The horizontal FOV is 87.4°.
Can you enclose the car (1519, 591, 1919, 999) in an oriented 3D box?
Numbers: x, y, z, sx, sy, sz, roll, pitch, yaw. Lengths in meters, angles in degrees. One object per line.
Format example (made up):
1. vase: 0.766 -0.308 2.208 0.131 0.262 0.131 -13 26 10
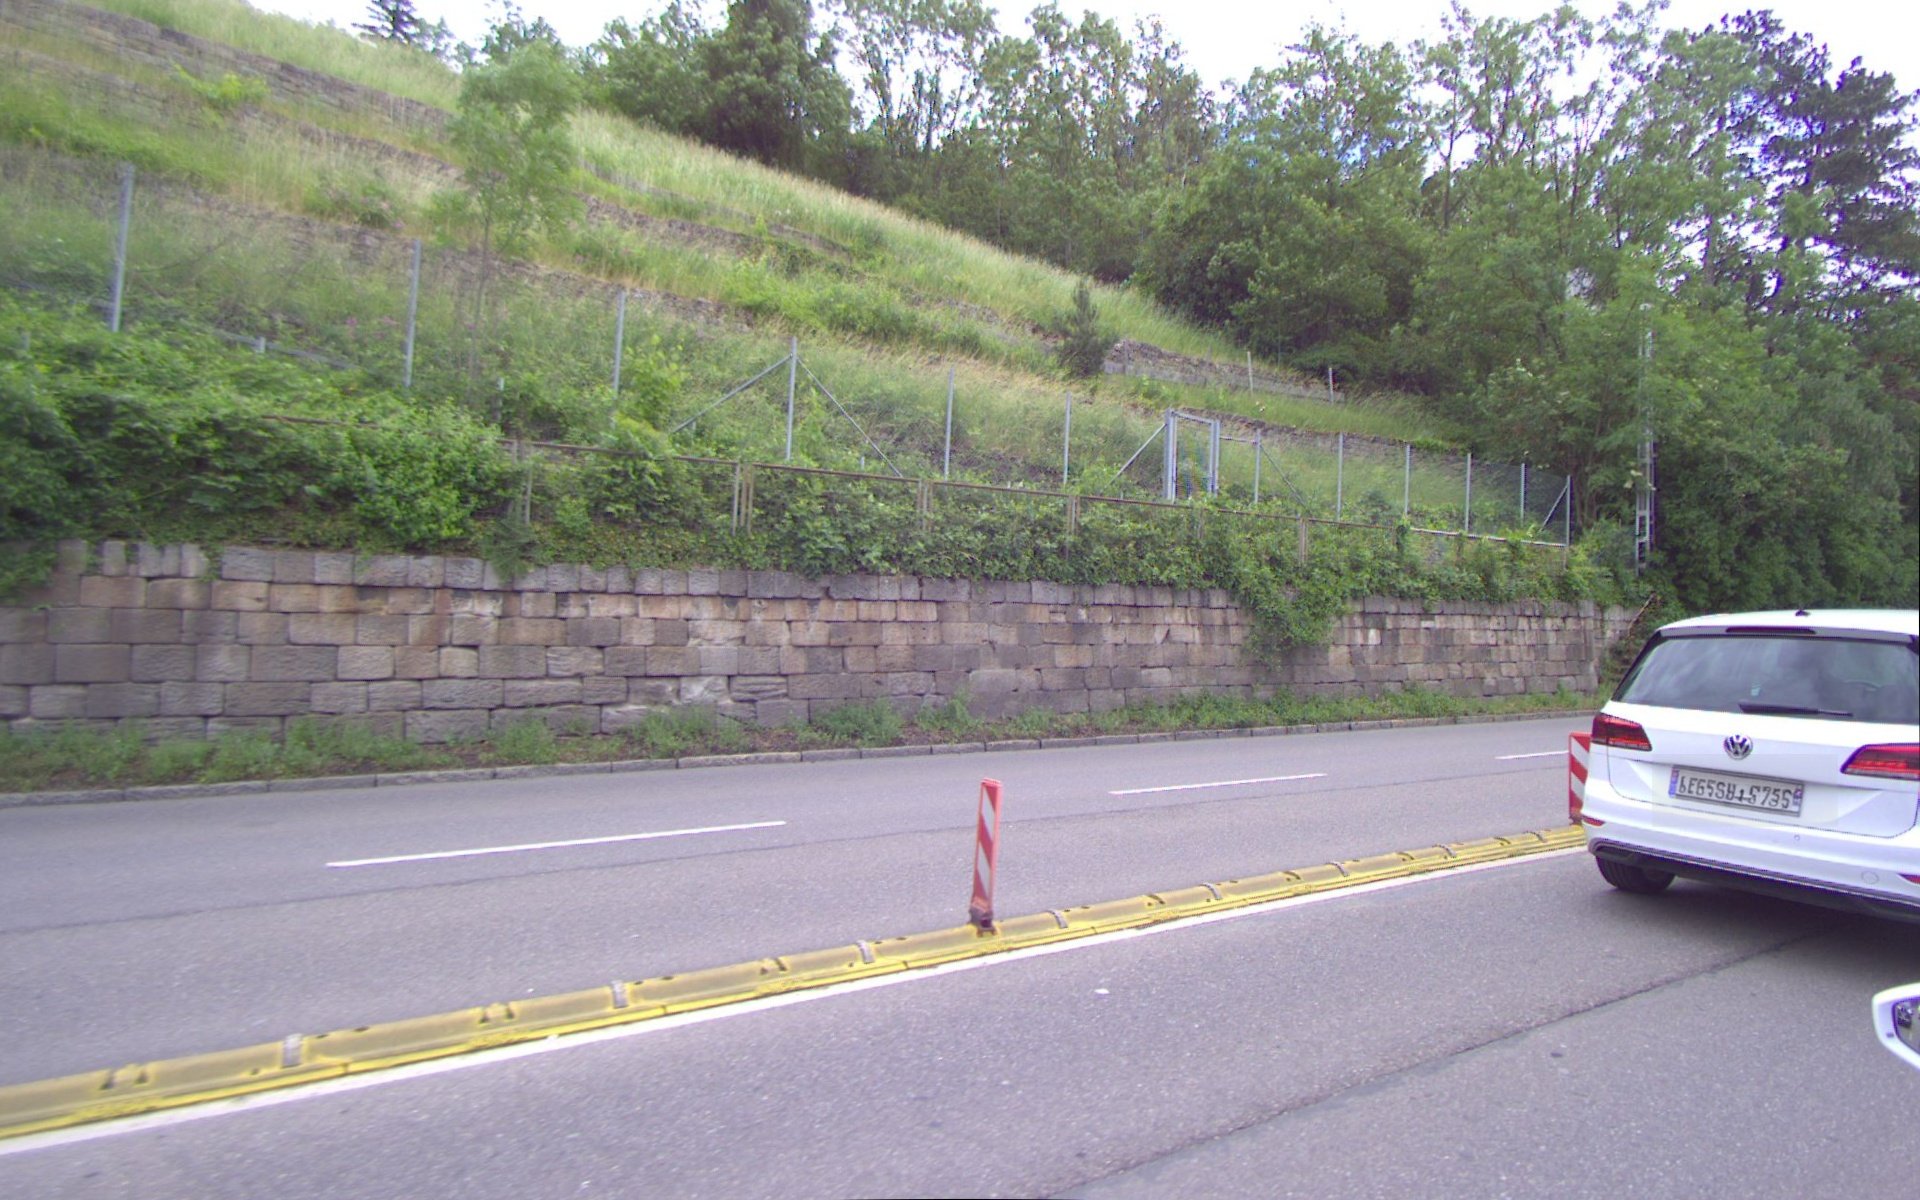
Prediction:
1. car: 5.276 0.834 5.665 4.305 1.601 1.812 2 -2 -31
